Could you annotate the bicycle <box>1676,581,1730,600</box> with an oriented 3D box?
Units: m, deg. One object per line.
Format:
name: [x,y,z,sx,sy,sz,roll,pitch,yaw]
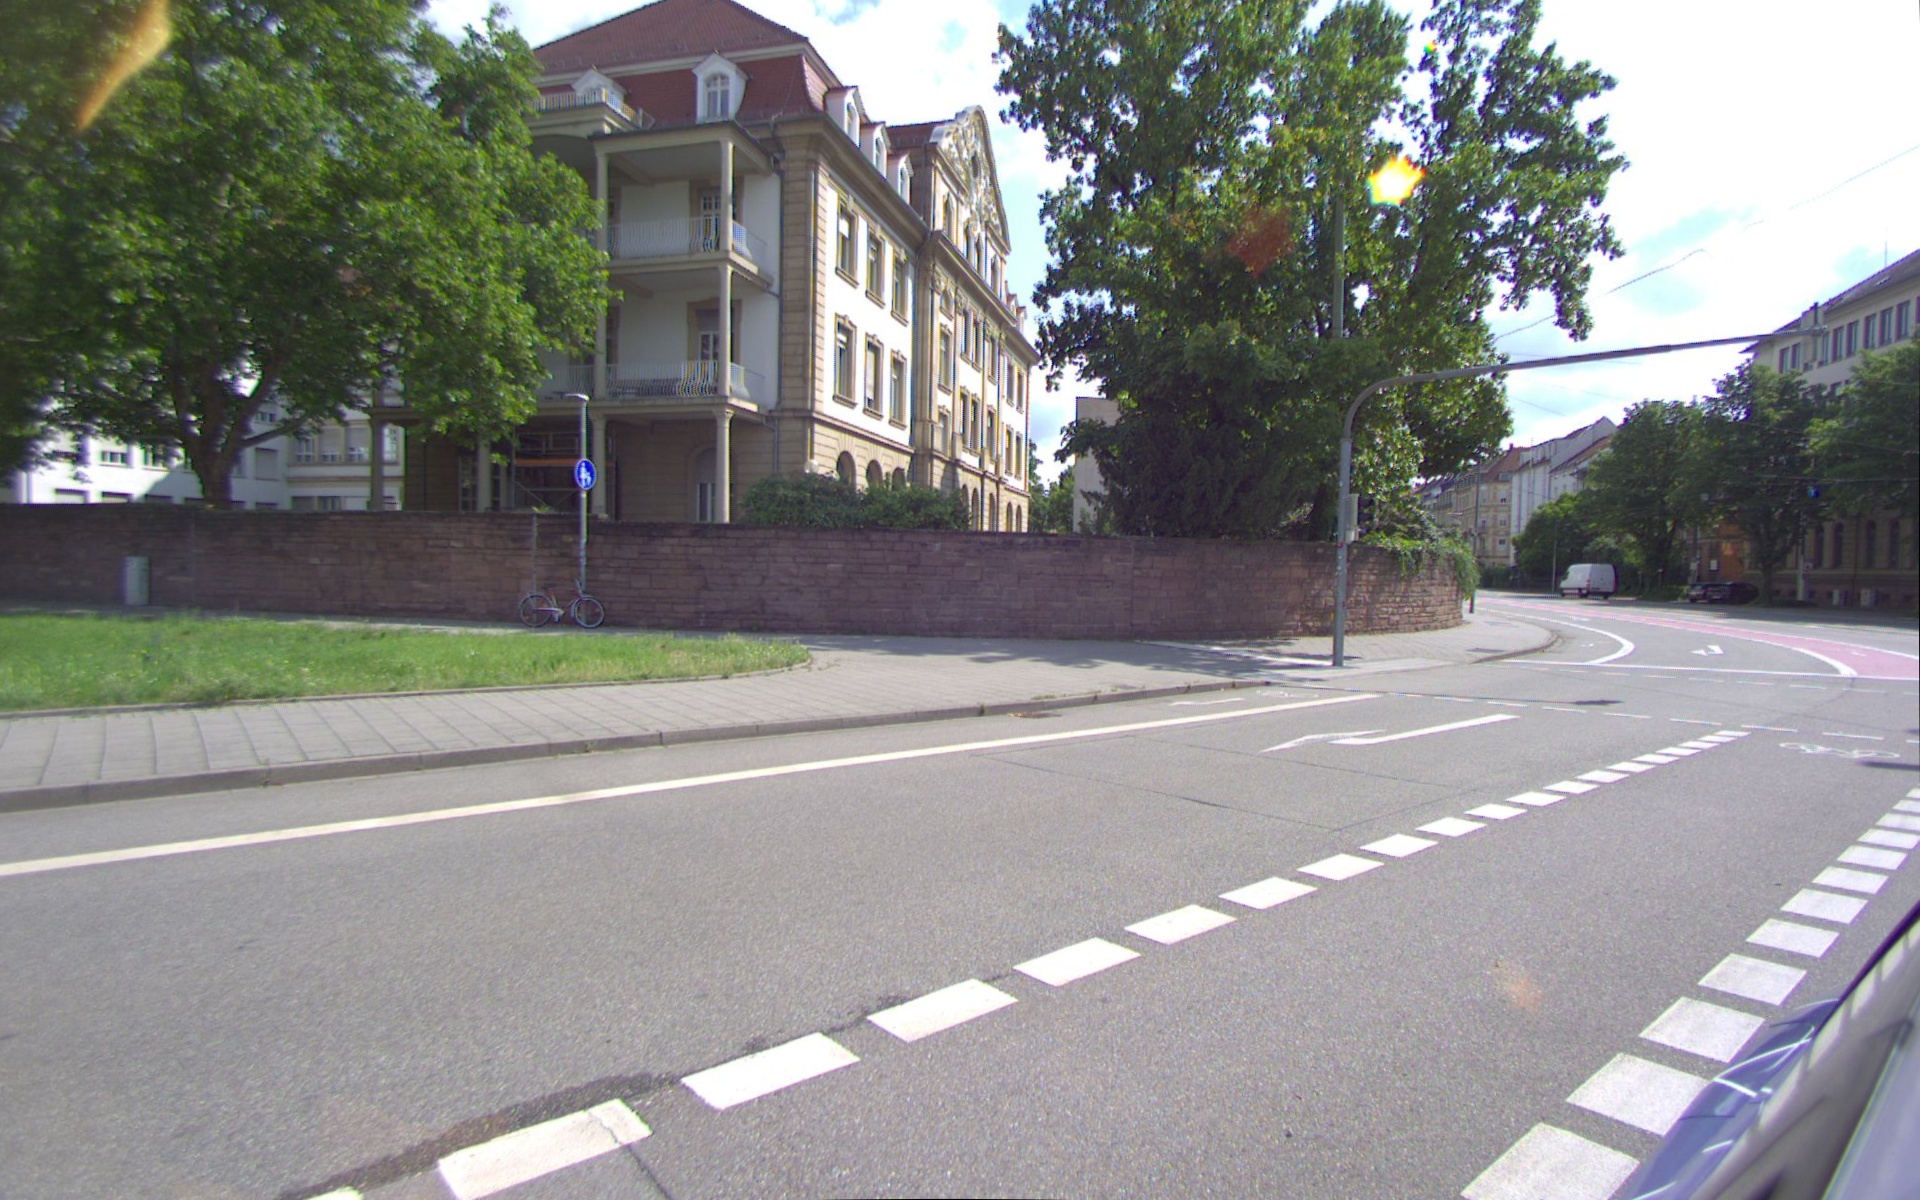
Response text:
bicycle: [53.058,-0.687,72.291,1.052,1.221,2.898,-4,4,-32]

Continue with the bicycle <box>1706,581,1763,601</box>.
bicycle: [52.875,-0.646,69.133,1.030,1.221,2.898,-4,4,-32]

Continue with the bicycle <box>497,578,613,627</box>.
bicycle: [-8.169,0.033,20.457,2.024,0.871,0.858,2,4,4]

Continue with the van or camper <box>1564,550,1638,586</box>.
van or camper: [50.551,-2.544,80.019,2.934,2.634,6.728,2,2,15]
